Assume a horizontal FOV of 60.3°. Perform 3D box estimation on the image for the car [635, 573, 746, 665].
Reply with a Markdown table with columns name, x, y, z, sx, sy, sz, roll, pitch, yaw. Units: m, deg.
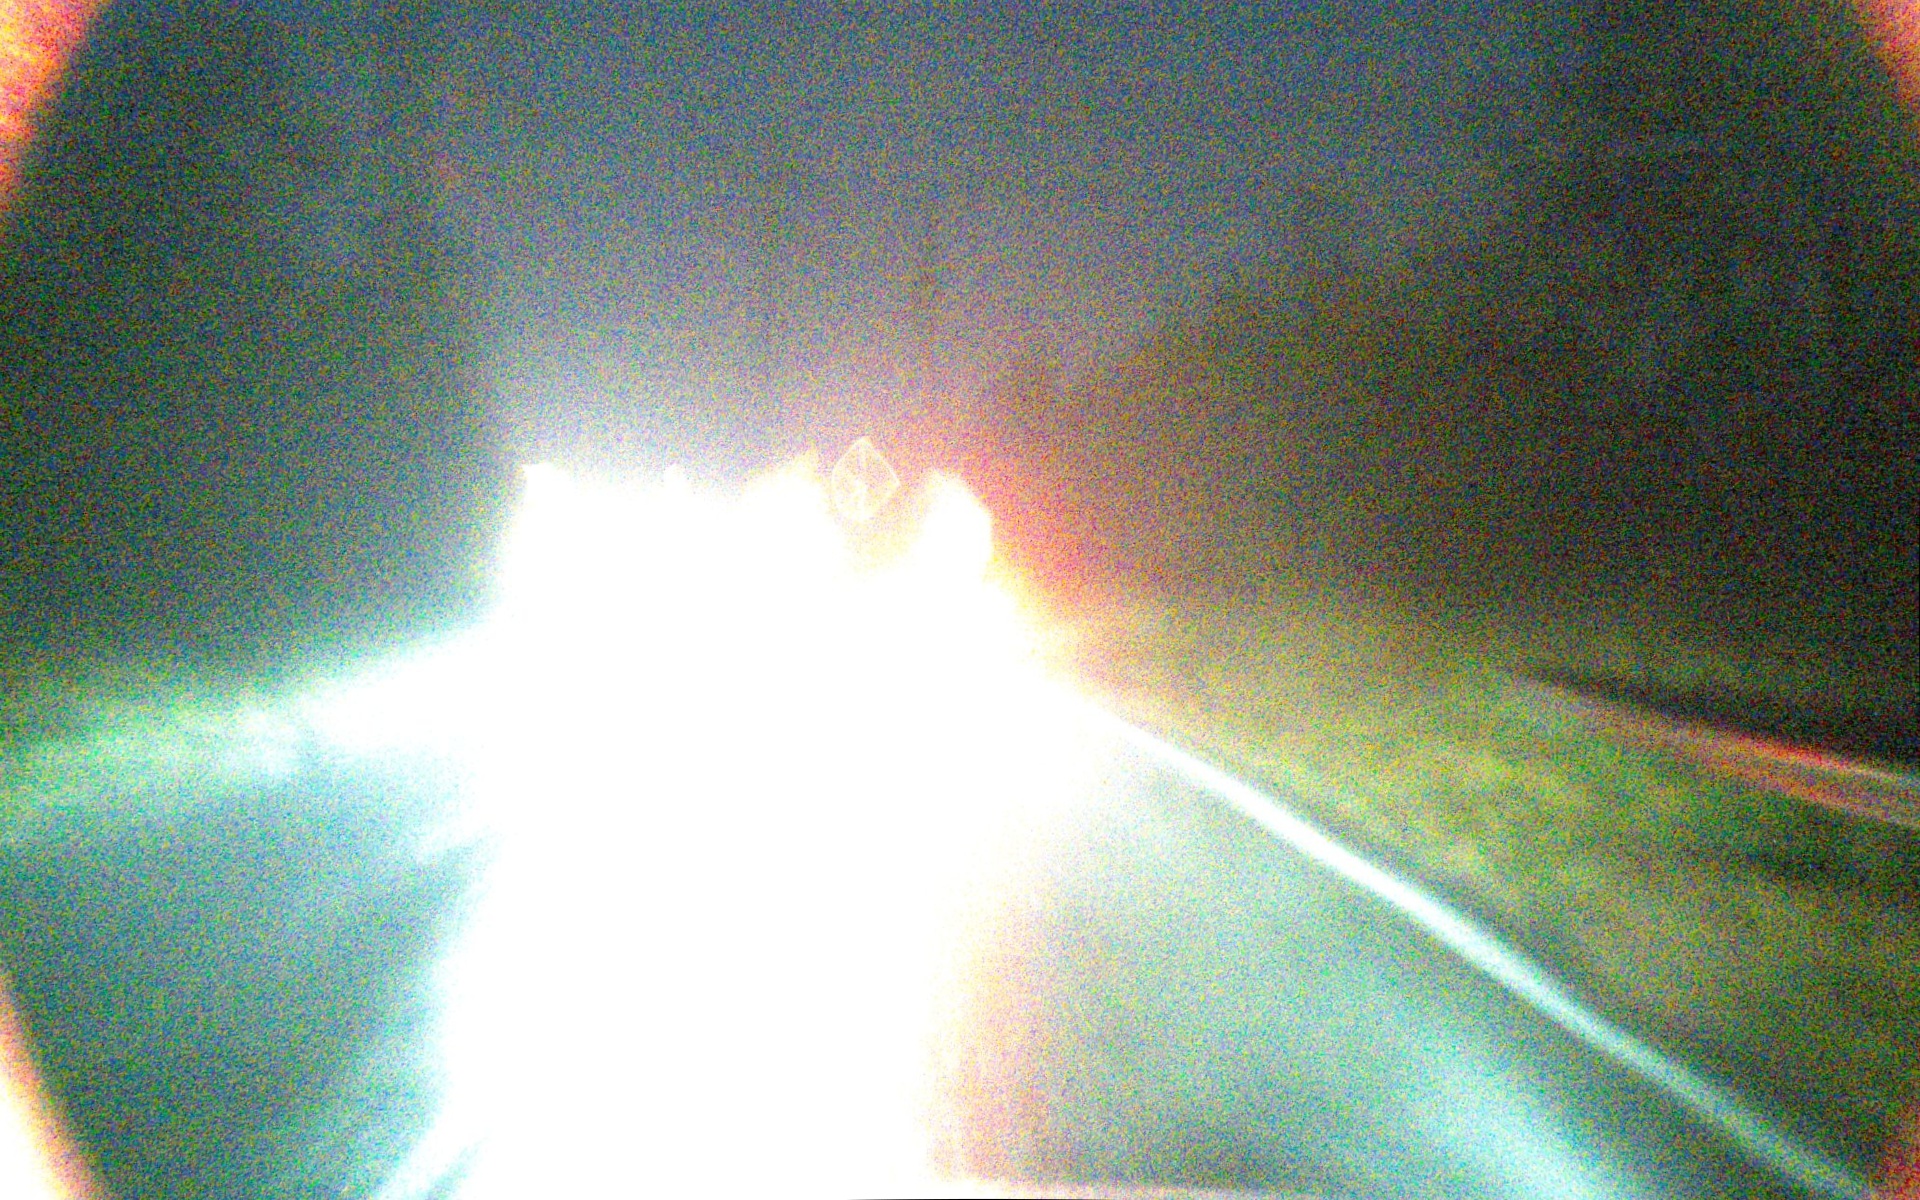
| name | x | y | z | sx | sy | sz | roll | pitch | yaw |
| --- | --- | --- | --- | --- | --- | --- | --- | --- | --- |
| car | -5.203 | 0.315 | 32.516 | 1.894 | 1.612 | 4.977 | -2 | 1 | -7 |

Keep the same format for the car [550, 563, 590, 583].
| name | x | y | z | sx | sy | sz | roll | pitch | yaw |
| --- | --- | --- | --- | --- | --- | --- | --- | --- | --- |
| car | -29.459 | -2.036 | 124.781 | 1.753 | 1.509 | 4.337 | 0 | 1 | -30 |

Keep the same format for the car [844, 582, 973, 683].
| name | x | y | z | sx | sy | sz | roll | pitch | yaw |
| --- | --- | --- | --- | --- | --- | --- | --- | --- | --- |
| car | -1.041 | 0.521 | 30.496 | 1.955 | 1.656 | 4.977 | 1 | 1 | -7 |
